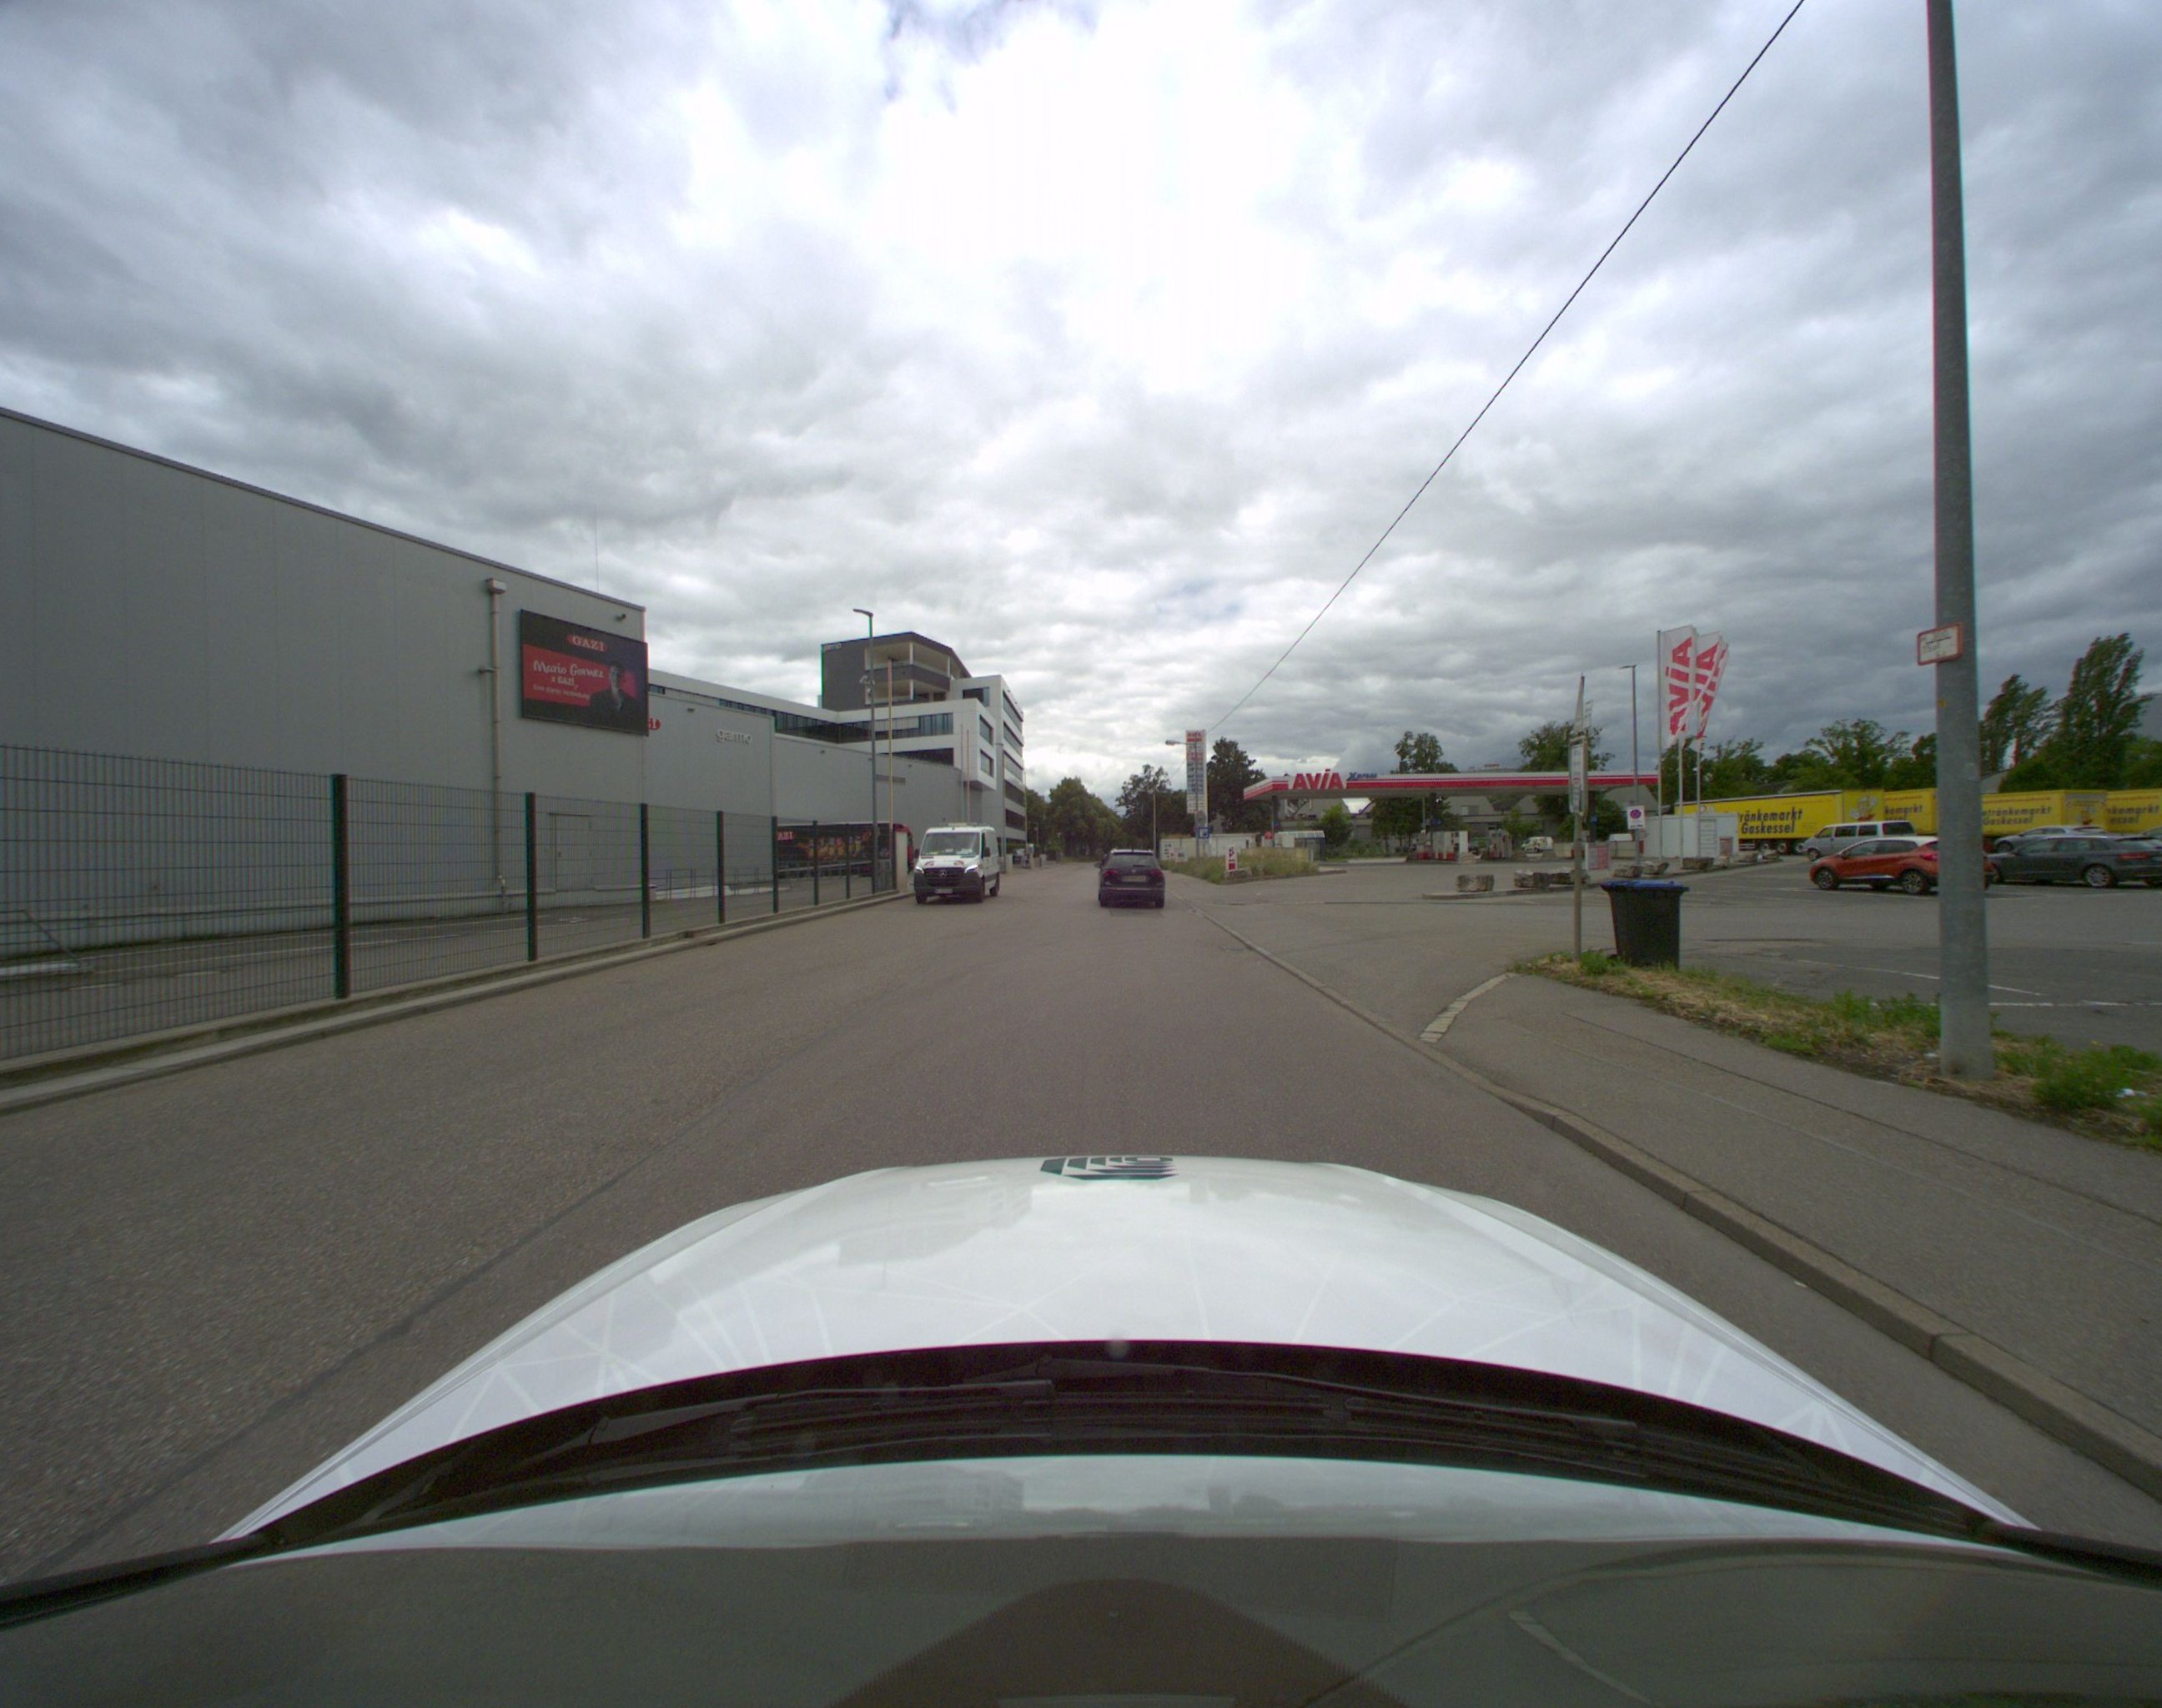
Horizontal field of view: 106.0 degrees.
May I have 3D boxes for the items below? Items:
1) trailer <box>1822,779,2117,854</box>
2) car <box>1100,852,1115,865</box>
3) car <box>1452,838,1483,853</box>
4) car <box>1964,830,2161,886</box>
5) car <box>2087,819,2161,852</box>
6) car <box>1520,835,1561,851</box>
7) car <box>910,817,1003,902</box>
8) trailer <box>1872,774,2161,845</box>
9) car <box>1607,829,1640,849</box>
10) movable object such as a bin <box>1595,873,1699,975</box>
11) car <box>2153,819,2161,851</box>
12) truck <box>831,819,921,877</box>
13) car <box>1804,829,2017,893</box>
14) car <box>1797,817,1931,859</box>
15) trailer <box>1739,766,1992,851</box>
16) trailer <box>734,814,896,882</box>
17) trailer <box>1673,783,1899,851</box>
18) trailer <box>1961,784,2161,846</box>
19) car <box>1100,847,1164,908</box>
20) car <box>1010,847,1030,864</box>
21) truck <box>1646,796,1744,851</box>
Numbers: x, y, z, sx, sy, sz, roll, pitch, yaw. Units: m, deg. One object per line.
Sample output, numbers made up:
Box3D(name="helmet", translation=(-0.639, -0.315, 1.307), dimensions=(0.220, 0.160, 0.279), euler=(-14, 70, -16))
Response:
Box3D(name="trailer", translation=(58.995, -2.199, 55.387), dimensions=(3.009, 4.260, 15.727), euler=(-2, 0, 1))
Box3D(name="car", translation=(3.361, 0.557, 104.225), dimensions=(1.832, 1.616, 4.002), euler=(-1, 0, 2))
Box3D(name="car", translation=(42.368, -0.896, 89.361), dimensions=(1.725, 1.530, 3.887), euler=(-2, 0, 3))
Box3D(name="car", translation=(27.964, 0.085, 22.887), dimensions=(1.758, 1.391, 4.217), euler=(-3, 0, 1))
Box3D(name="car", translation=(53.590, -0.945, 40.285), dimensions=(1.976, 1.600, 4.690), euler=(-1, 0, 1))
Box3D(name="car", translation=(50.833, -1.239, 90.108), dimensions=(1.955, 1.645, 4.654), euler=(-2, 0, 1))
Box3D(name="car", translation=(-3.804, 0.125, 25.867), dimensions=(1.986, 2.416, 5.258), euler=(0, 1, 2))
Box3D(name="trailer", translation=(62.745, -2.653, 54.248), dimensions=(2.681, 3.915, 18.074), euler=(-2, 0, 1))
Box3D(name="car", translation=(59.160, -1.634, 88.908), dimensions=(2.076, 2.103, 4.930), euler=(-2, 0, 23))
Box3D(name="movable object such as a bin", translation=(6.464, 0.781, 9.330), dimensions=(0.713, 1.081, 0.661), euler=(-1, 0, -5))
Box3D(name="car", translation=(56.009, -0.972, 39.463), dimensions=(1.976, 1.600, 4.690), euler=(-1, 0, 1))
Box3D(name="truck", translation=(-15.064, -0.478, 60.449), dimensions=(2.718, 4.030, 7.131), euler=(0, 0, 22))
Box3D(name="car", translation=(23.191, 0.176, 23.037), dimensions=(1.758, 1.571, 4.217), euler=(-2, 0, 1))
Box3D(name="car", translation=(38.670, -0.753, 40.434), dimensions=(1.976, 1.912, 4.952), euler=(-1, 0, 1))
Box3D(name="trailer", translation=(50.567, -2.623, 53.650), dimensions=(2.989, 4.723, 14.304), euler=(-2, 0, 1))
Box3D(name="trailer", translation=(-17.389, -0.422, 54.801), dimensions=(2.718, 4.030, 12.686), euler=(0, 0, 22))
Box3D(name="trailer", translation=(46.714, -2.197, 55.081), dimensions=(2.989, 3.915, 14.304), euler=(-2, 0, 1))
Box3D(name="trailer", translation=(70.736, -2.580, 57.411), dimensions=(2.681, 3.915, 13.691), euler=(-2, 0, 1))
Box3D(name="car", translation=(1.514, 0.645, 23.862), dimensions=(1.731, 1.618, 3.645), euler=(1, 0, 4))
Box3D(name="car", translation=(-6.396, 0.138, 85.275), dimensions=(1.643, 1.762, 3.182), euler=(0, 0, 3))
Box3D(name="truck", translation=(46.818, -2.207, 62.305), dimensions=(2.946, 3.915, 6.042), euler=(-2, 0, 1))
